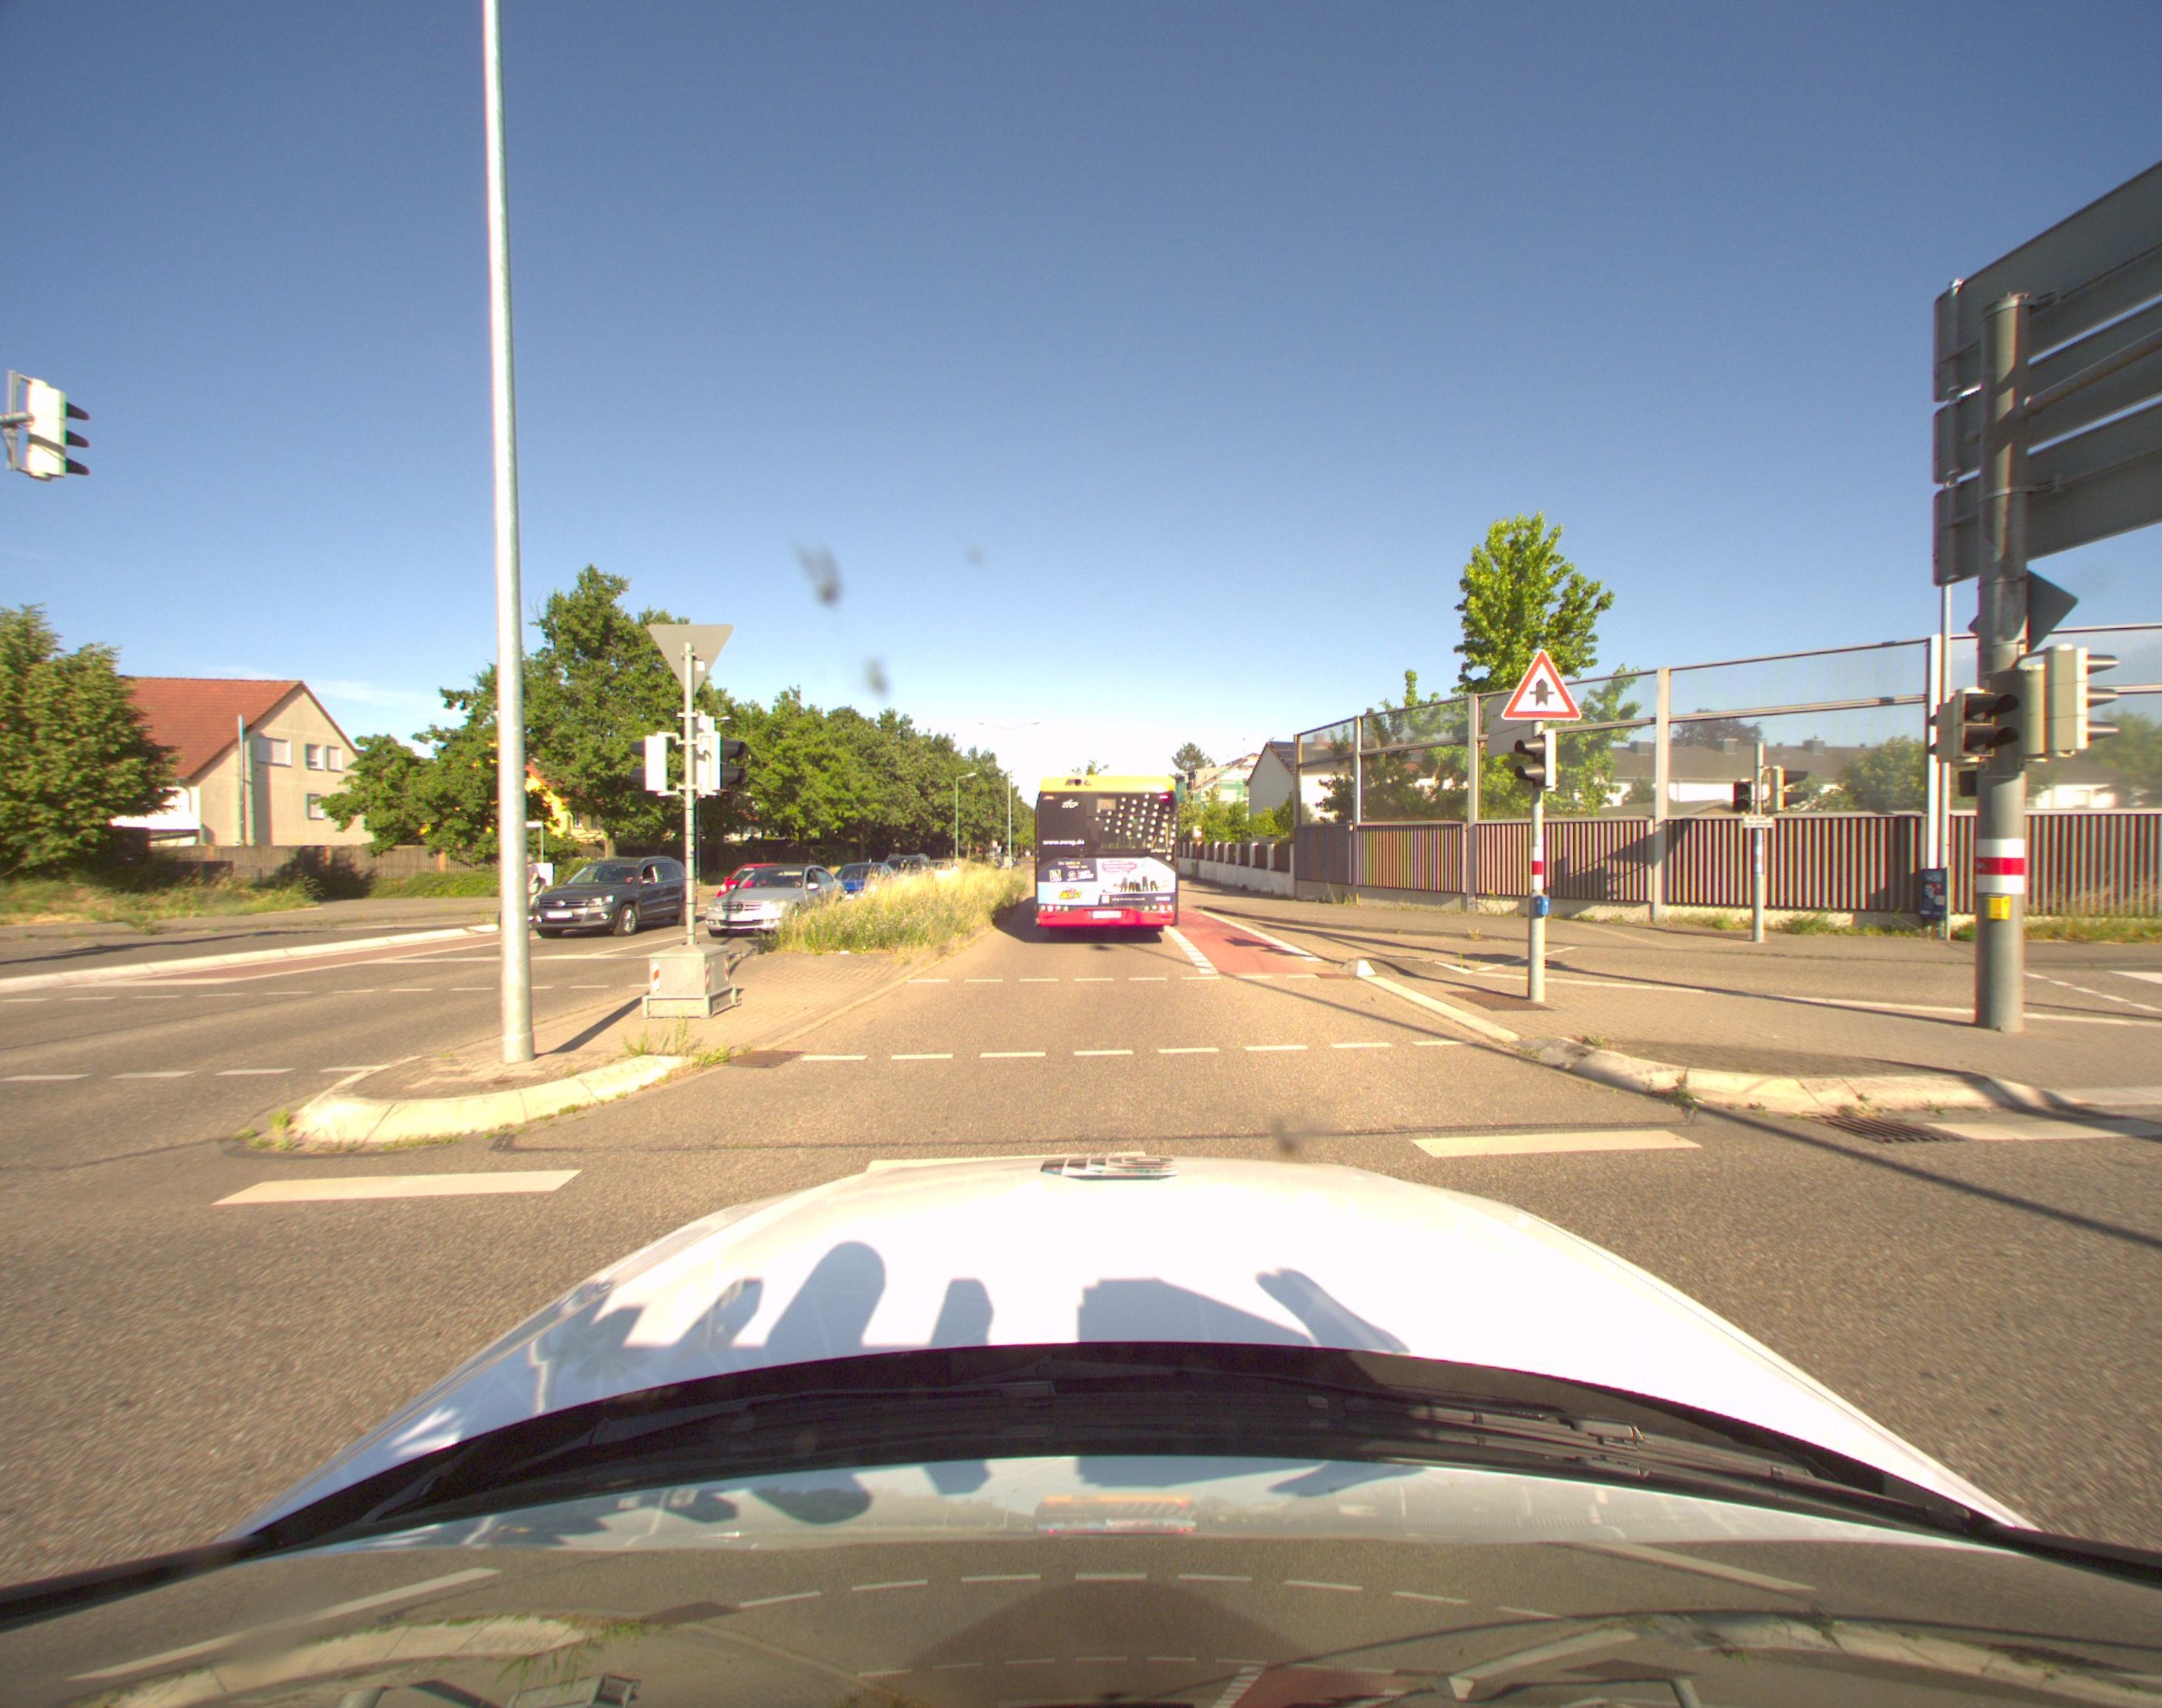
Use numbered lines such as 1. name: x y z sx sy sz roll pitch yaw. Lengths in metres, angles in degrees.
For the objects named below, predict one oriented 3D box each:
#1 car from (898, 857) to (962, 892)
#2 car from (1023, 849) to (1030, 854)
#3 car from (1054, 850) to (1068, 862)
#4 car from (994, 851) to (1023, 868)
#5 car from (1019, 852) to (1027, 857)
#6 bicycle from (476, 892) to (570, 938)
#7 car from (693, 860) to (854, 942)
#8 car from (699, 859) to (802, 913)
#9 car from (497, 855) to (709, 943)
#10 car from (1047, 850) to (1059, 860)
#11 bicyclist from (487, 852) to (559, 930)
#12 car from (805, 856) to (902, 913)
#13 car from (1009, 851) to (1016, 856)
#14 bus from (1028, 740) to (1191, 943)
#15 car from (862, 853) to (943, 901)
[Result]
1. car: -6.622 0.878 36.208 1.987 1.450 4.398 -1 -1 0
2. car: -16.252 -0.623 241.985 1.931 1.454 3.990 0 0 -7
3. car: -3.129 0.316 125.447 1.933 1.704 3.992 0 0 -6
4. car: -6.634 0.450 74.792 1.699 1.431 4.010 -2 0 9
5. car: -15.375 0.140 216.109 1.931 1.542 3.992 0 0 -6
6. bicycle: -12.644 1.357 18.539 0.746 0.847 1.990 -1 1 0
7. car: -6.628 0.930 18.165 1.787 1.506 4.531 -1 1 1
8. car: -10.220 0.950 25.507 1.639 1.483 3.714 -1 1 1
9. car: -10.426 0.889 18.256 1.987 1.644 4.531 -1 1 1
10. car: -5.141 0.196 147.562 1.931 1.742 3.992 0 0 -6
11. bicyclist: -12.647 0.816 18.491 0.742 1.702 1.242 -1 0 0
12. car: -6.672 0.834 24.287 1.741 1.483 3.888 -1 1 1
13. car: -20.269 -0.188 241.804 1.931 1.454 3.990 0 0 -7
14. bus: 0.642 -0.185 20.282 2.747 3.458 12.400 -1 0 1
15. car: -6.626 0.793 30.731 1.987 1.616 4.530 -1 1 0
